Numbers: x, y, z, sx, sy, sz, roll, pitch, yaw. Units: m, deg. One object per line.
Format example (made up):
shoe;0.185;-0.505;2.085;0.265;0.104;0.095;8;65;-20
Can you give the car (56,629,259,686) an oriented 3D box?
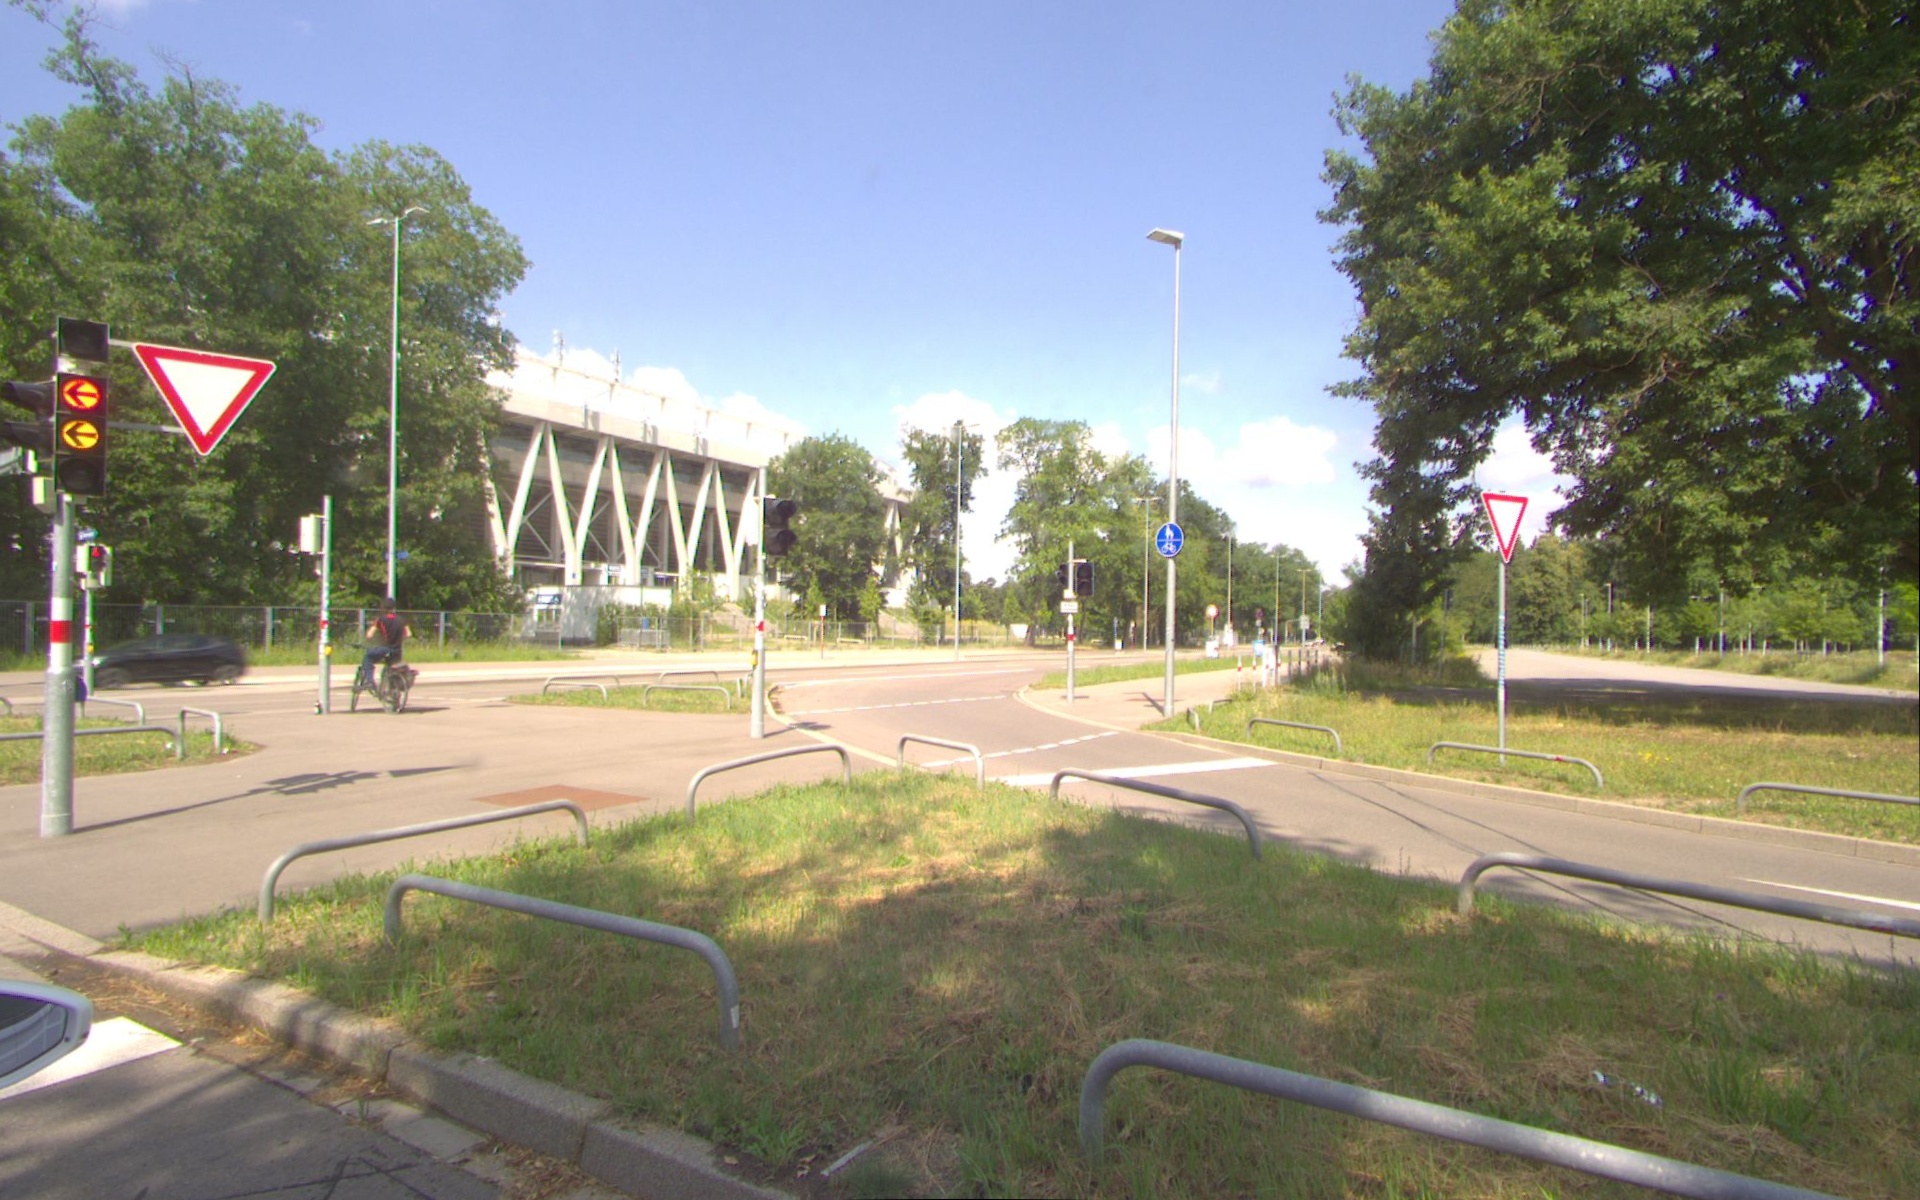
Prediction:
car;-21.381;1.493;26.845;1.580;1.395;3.956;-1;-2;32

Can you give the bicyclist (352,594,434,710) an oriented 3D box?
bicyclist;-9.299;0.843;16.419;0.967;1.820;0.881;-1;-2;40

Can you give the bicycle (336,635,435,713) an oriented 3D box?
bicycle;-9.532;1.191;16.592;1.876;1.221;0.876;-2;-2;42
